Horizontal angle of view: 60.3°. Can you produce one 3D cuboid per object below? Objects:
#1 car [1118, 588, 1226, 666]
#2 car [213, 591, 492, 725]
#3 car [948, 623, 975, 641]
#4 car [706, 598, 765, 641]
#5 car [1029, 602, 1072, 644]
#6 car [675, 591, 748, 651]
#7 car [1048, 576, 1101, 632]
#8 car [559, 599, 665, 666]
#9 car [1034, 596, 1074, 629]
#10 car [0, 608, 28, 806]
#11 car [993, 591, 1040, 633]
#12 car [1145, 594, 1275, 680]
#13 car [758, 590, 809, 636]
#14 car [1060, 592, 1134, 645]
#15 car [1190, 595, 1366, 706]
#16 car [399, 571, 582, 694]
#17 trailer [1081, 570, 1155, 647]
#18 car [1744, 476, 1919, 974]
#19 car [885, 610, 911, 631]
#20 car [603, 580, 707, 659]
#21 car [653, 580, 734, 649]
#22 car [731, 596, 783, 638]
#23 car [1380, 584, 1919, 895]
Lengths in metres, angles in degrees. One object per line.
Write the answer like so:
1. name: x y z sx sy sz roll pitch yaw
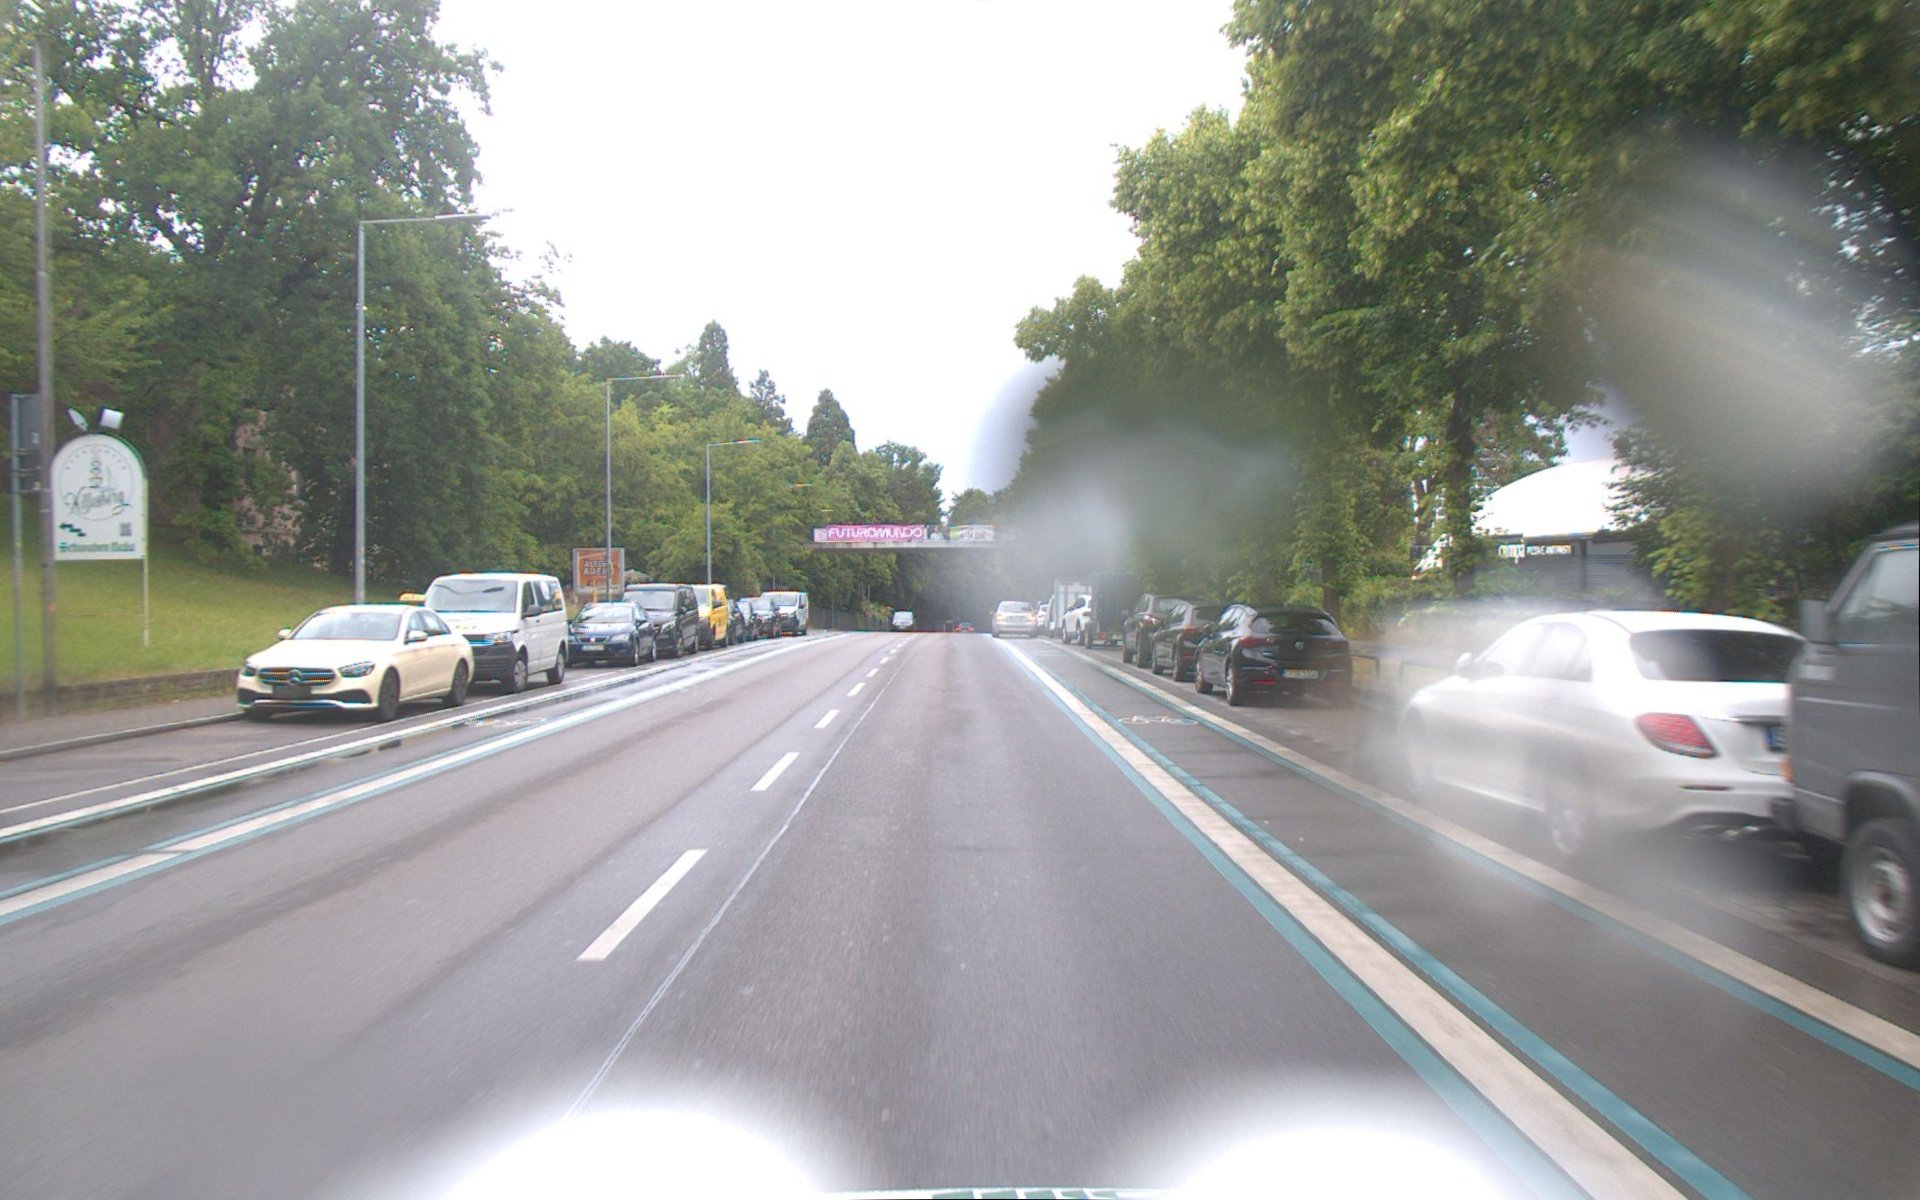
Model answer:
1. car: 4.677 0.567 37.016 1.696 1.611 4.153 1 0 -2
2. car: -8.176 0.700 22.831 1.949 1.633 4.985 0 0 1
3. car: 0.125 2.849 147.828 2.098 1.518 4.495 0 0 -4
4. car: -8.354 0.705 61.774 1.848 1.476 3.980 0 1 -3
5. car: 3.893 0.971 71.428 1.695 1.713 4.045 0 0 1
6. car: -8.403 0.679 56.272 1.950 1.926 4.054 0 1 -1
7. car: 4.520 0.148 65.835 1.850 2.164 4.045 -1 0 1
8. car: -8.236 0.733 39.470 1.696 1.414 4.369 0 1 -1
9. car: 4.418 0.546 77.787 1.695 1.488 4.045 0 0 1
10. car: -7.931 0.831 10.616 1.661 1.462 4.054 0 1 -1
11. car: 2.221 0.468 66.283 1.696 1.611 4.036 0 0 -1
12. car: 4.687 0.652 31.539 1.696 1.489 4.071 1 1 -2
13. car: -7.977 0.559 75.138 1.721 1.965 4.194 0 1 2
14. car: 4.382 0.559 53.327 1.697 1.611 4.150 0 0 -5
15. car: 4.713 0.699 25.091 1.696 1.489 4.275 1 0 -2
16. car: -8.098 0.477 29.012 1.874 1.965 4.927 0 1 -1
17. trailer: 4.655 0.235 49.216 1.845 2.204 3.808 0 0 0
18. car: 4.909 0.528 6.022 1.887 2.057 4.663 0 0 0
19. car: -4.448 1.476 118.503 1.832 1.499 4.051 0 -1 -3
20. car: -8.214 0.465 44.933 1.950 1.980 5.141 0 1 -1
21. car: -8.185 0.396 51.193 1.845 1.979 4.825 0 1 -2
22. car: -8.267 0.670 67.694 1.833 1.569 4.052 0 1 -3
23. car: 4.408 0.716 10.949 1.753 1.570 4.886 1 0 -3
